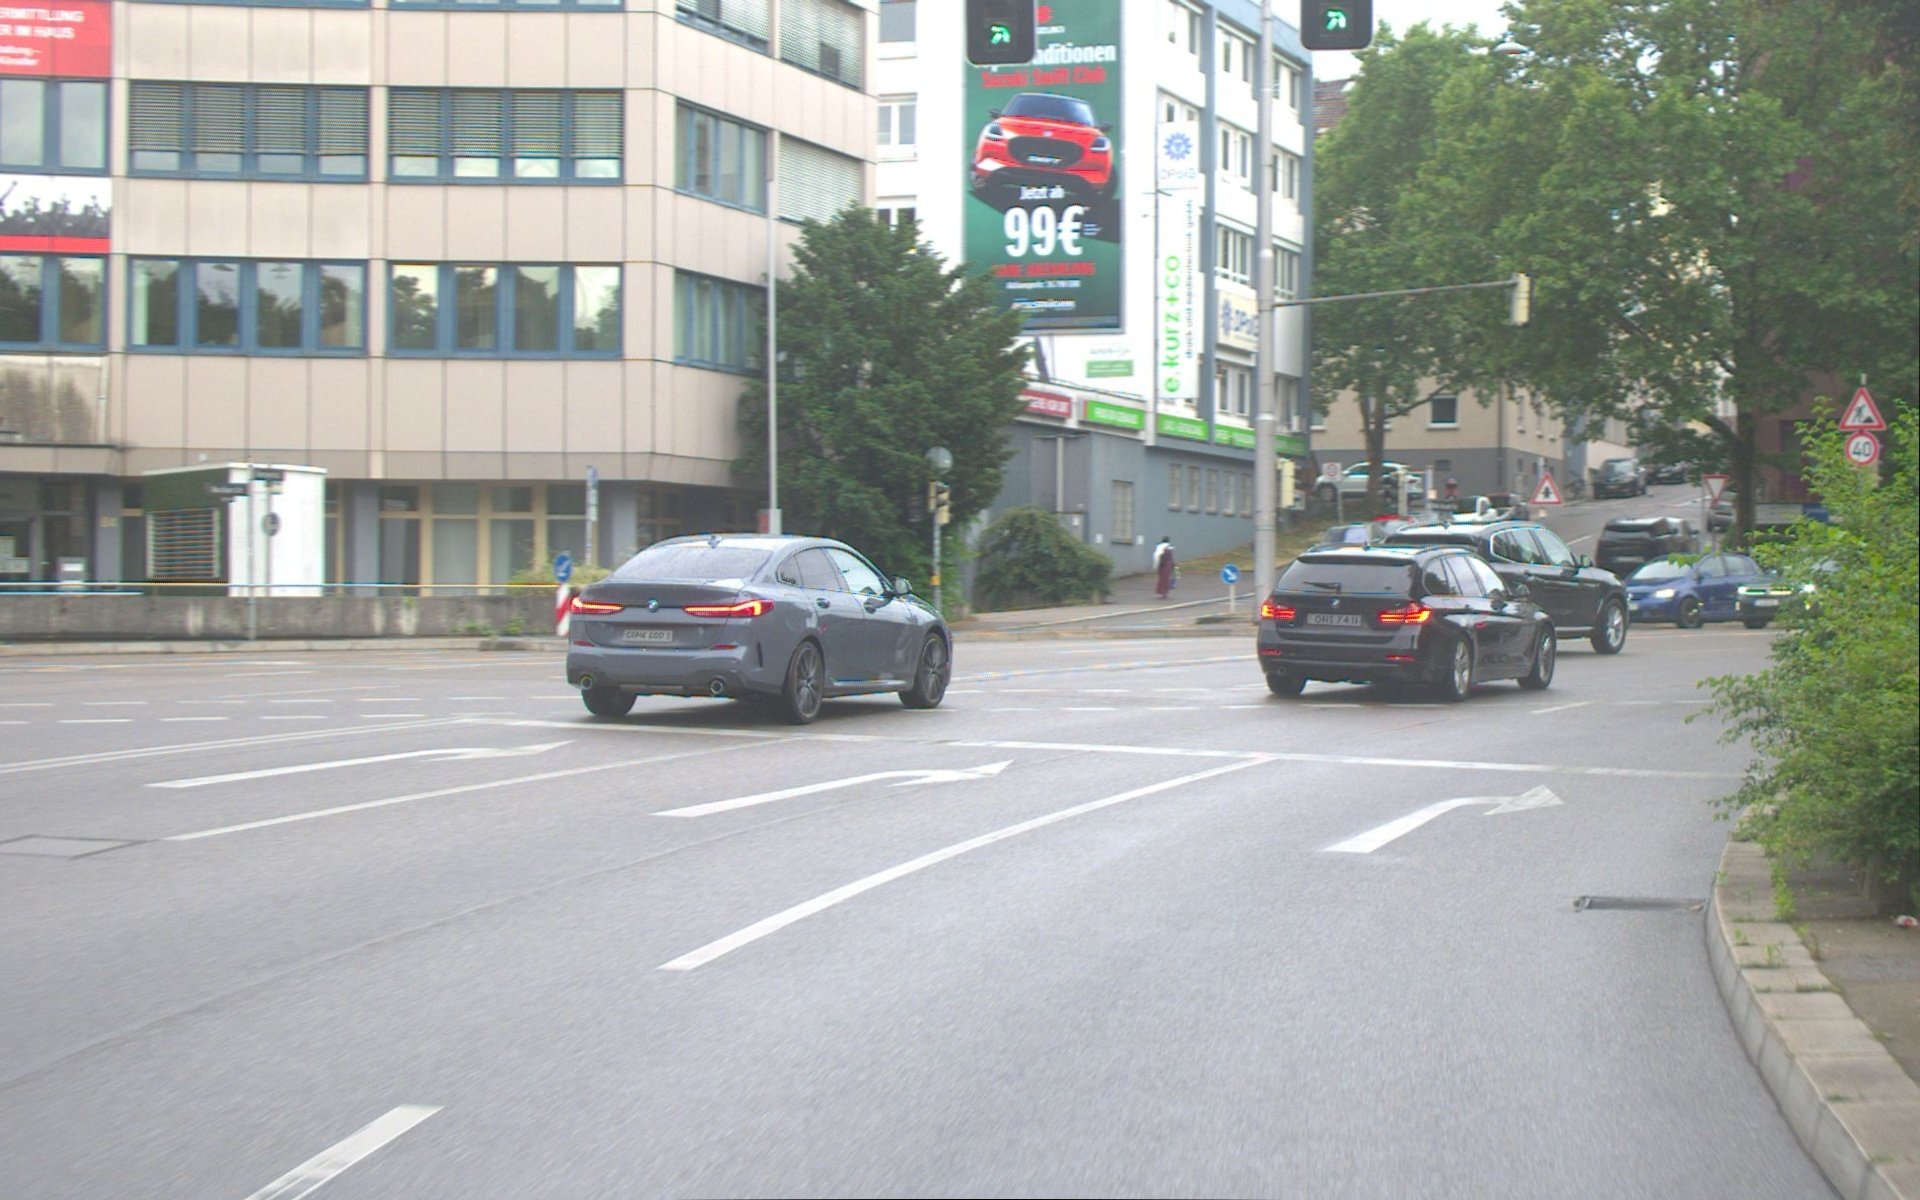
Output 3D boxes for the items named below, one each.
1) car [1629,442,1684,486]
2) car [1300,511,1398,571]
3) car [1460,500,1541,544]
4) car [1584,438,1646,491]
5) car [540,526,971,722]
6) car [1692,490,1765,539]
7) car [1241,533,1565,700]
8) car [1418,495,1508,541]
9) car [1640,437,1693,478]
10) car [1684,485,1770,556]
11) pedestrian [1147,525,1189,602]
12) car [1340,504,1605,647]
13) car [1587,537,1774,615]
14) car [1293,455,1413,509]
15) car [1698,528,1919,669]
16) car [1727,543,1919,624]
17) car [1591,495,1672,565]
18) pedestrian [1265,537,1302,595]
[{"bbox_3d":[31.560,-6.157,155.705,1.995,1.836,3.997,0,4,18],"label":"car"},{"bbox_3d":[11.374,-1.729,100.328,1.835,1.458,4.174,-1,4,21],"label":"car"},{"bbox_3d":[18.667,-2.706,118.684,1.835,1.426,4.065,-1,2,23],"label":"car"},{"bbox_3d":[27.178,-5.608,142.625,1.995,2.007,3.996,0,0,18],"label":"car"},{"bbox_3d":[-1.514,0.153,27.268,1.792,1.422,4.380,0,0,20],"label":"car"},{"bbox_3d":[26.481,-2.941,118.358,1.933,1.669,3.996,0,1,21],"label":"car"},{"bbox_3d":[4.251,0.112,32.371,1.793,1.421,4.607,2,1,23],"label":"car"},{"bbox_3d":[16.732,-2.696,114.248,1.835,1.426,4.064,0,0,25],"label":"car"},{"bbox_3d":[34.082,-6.862,165.763,1.995,1.836,3.997,0,4,18],"label":"car"},{"bbox_3d":[22.786,-2.381,102.037,1.933,1.861,3.997,0,5,21],"label":"car"},{"bbox_3d":[5.467,-0.962,90.428,0.839,2.007,0.980,0,0,20],"label":"pedestrian"},{"bbox_3d":[6.424,-0.287,42.741,1.903,1.688,3.993,0,0,30],"label":"car"},{"bbox_3d":[14.342,-0.455,68.303,1.766,1.507,4.111,0,0,43],"label":"car"},{"bbox_3d":[15.455,-4.618,135.210,4.420,1.999,1.998,0,0,16],"label":"car"},{"bbox_3d":[9.294,-0.006,36.970,1.960,1.422,4.120,0,0,22],"label":"car"},{"bbox_3d":[16.566,-0.297,65.702,1.822,1.507,4.222,0,0,43],"label":"car"},{"bbox_3d":[18.776,-1.979,96.030,1.932,1.861,3.998,2,2,15],"label":"car"},{"bbox_3d":[9.545,-0.992,101.442,0.839,1.712,0.980,0,0,20],"label":"pedestrian"}]
